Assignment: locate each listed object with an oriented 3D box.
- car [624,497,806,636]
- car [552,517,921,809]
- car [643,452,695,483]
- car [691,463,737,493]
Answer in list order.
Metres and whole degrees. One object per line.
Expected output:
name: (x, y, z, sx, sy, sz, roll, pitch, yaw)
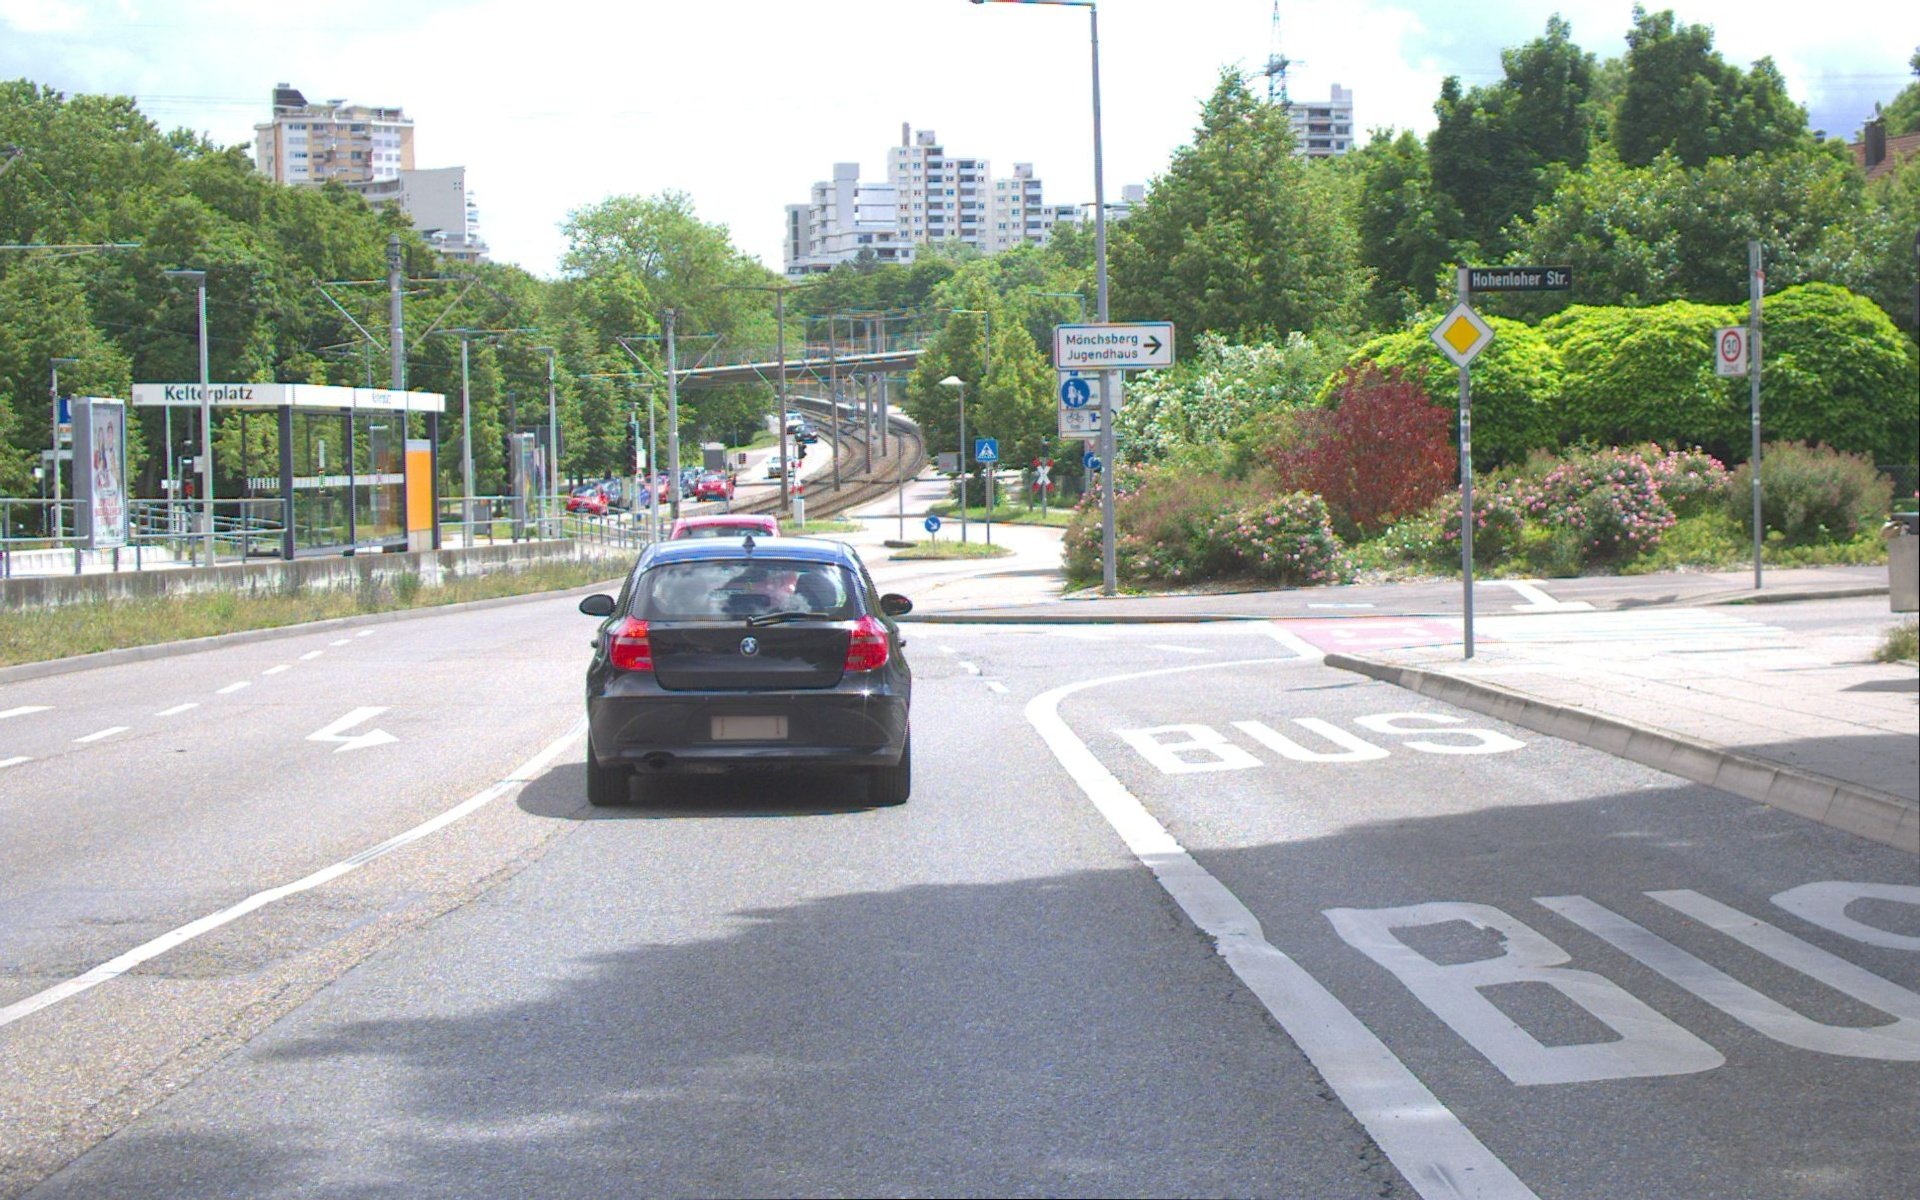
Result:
car: (-2.706, -0.412, 38.599, 1.765, 1.427, 3.479, -2, 2, 0)
car: (-1.175, 0.270, 19.359, 1.815, 1.416, 4.001, -2, 1, -1)
car: (-15.148, -6.906, 179.124, 1.913, 1.555, 4.000, -1, 3, 6)
car: (-12.752, -6.318, 178.228, 1.720, 1.497, 2.966, -1, 3, 8)
